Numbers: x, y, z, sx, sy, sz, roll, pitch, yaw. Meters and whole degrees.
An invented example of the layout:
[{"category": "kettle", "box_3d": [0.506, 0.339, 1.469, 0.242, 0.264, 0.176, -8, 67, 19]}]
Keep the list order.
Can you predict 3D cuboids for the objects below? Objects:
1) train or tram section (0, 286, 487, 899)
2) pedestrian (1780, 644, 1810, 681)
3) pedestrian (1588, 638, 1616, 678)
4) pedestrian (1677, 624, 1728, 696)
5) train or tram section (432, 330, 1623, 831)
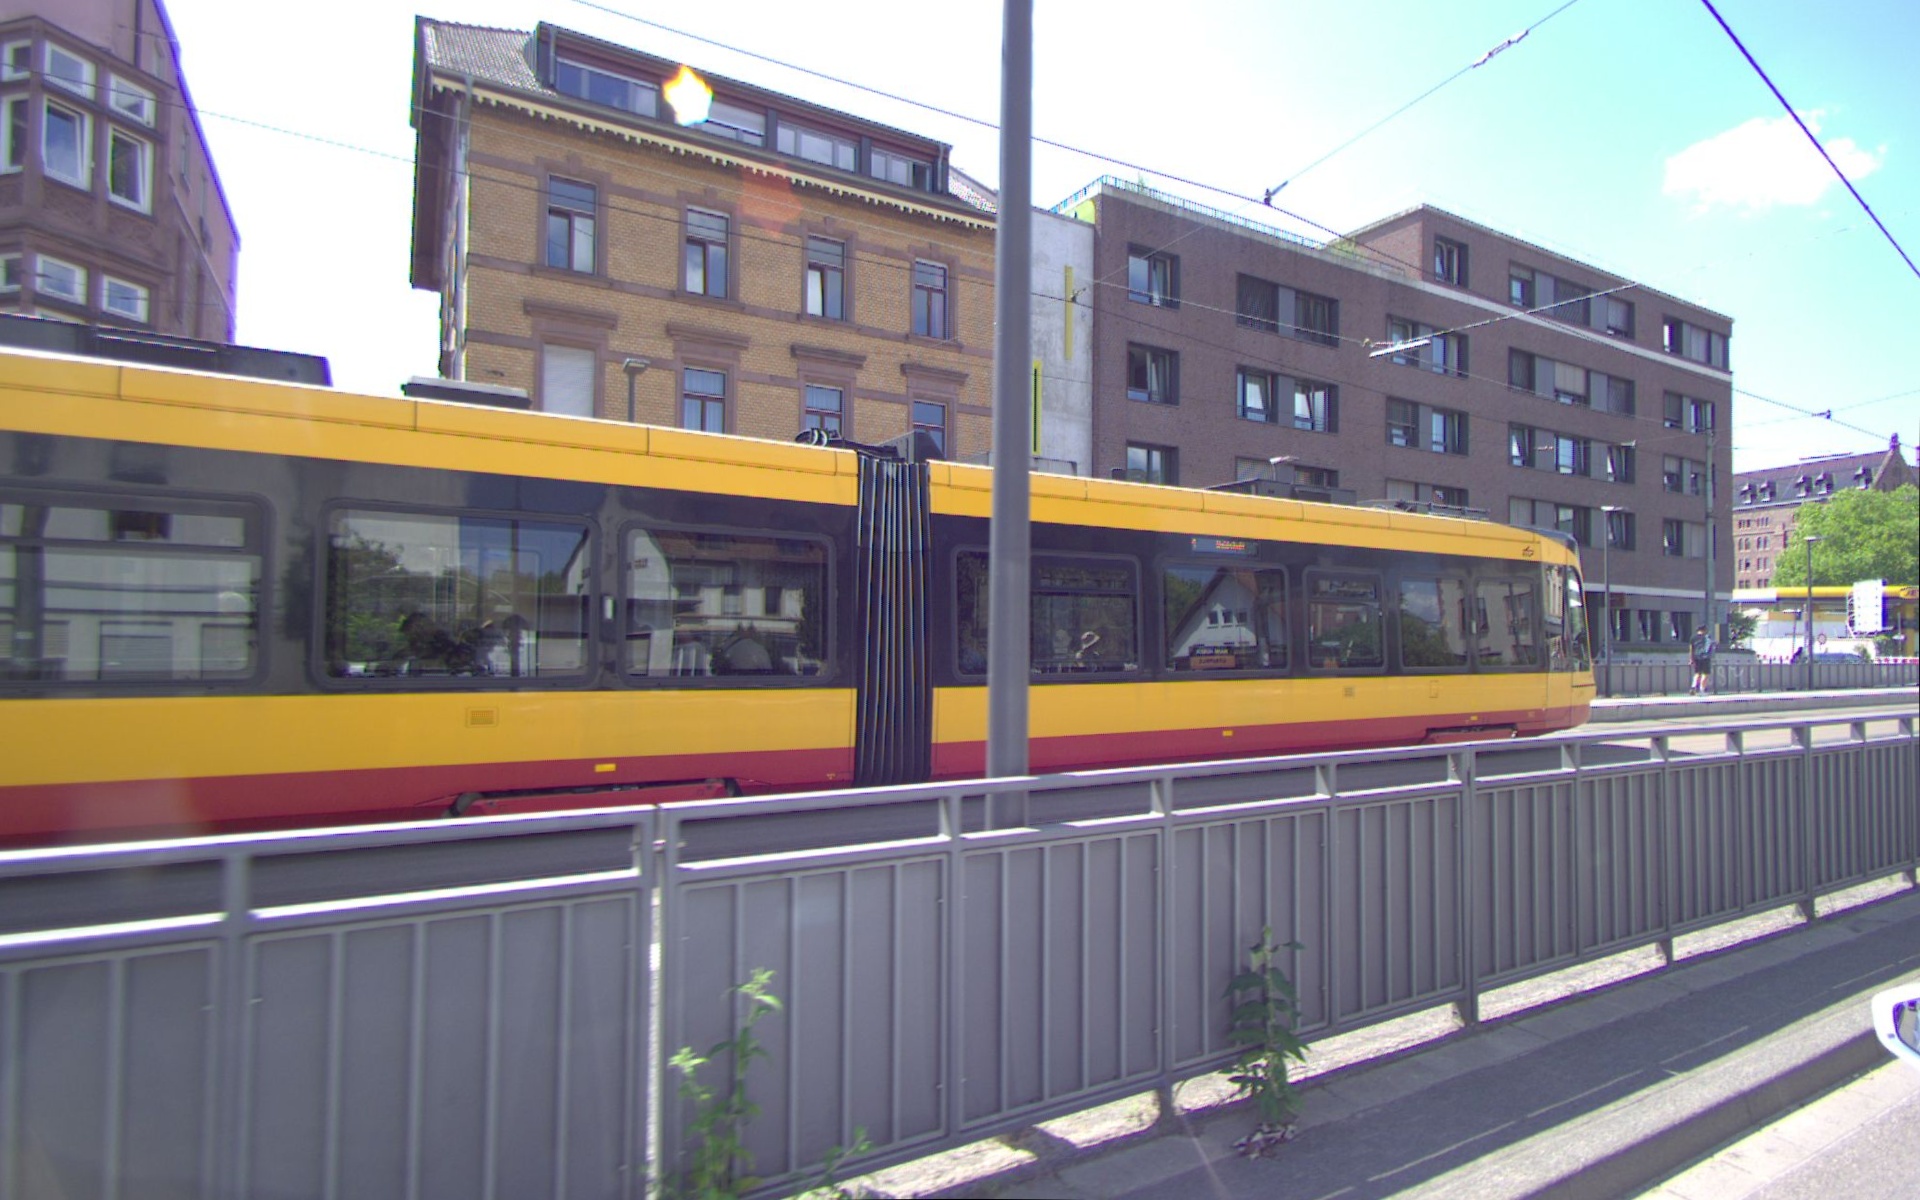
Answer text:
[{"category": "train or tram section", "box_3d": [-12.953, -0.268, 3.432, 20.265, 3.614, 3.235, 2, -3, -31]}, {"category": "pedestrian", "box_3d": [38.585, 2.890, 46.403, 0.990, 1.617, 0.755, 2, 1, -35]}, {"category": "pedestrian", "box_3d": [26.040, 2.345, 40.763, 0.753, 1.617, 0.682, 2, -3, -31]}, {"category": "pedestrian", "box_3d": [18.853, 1.518, 25.517, 1.022, 1.783, 0.682, 2, -3, -32]}, {"category": "train or tram section", "box_3d": [2.513, 0.175, 12.782, 16.161, 3.614, 3.219, 2, -3, -31]}]
